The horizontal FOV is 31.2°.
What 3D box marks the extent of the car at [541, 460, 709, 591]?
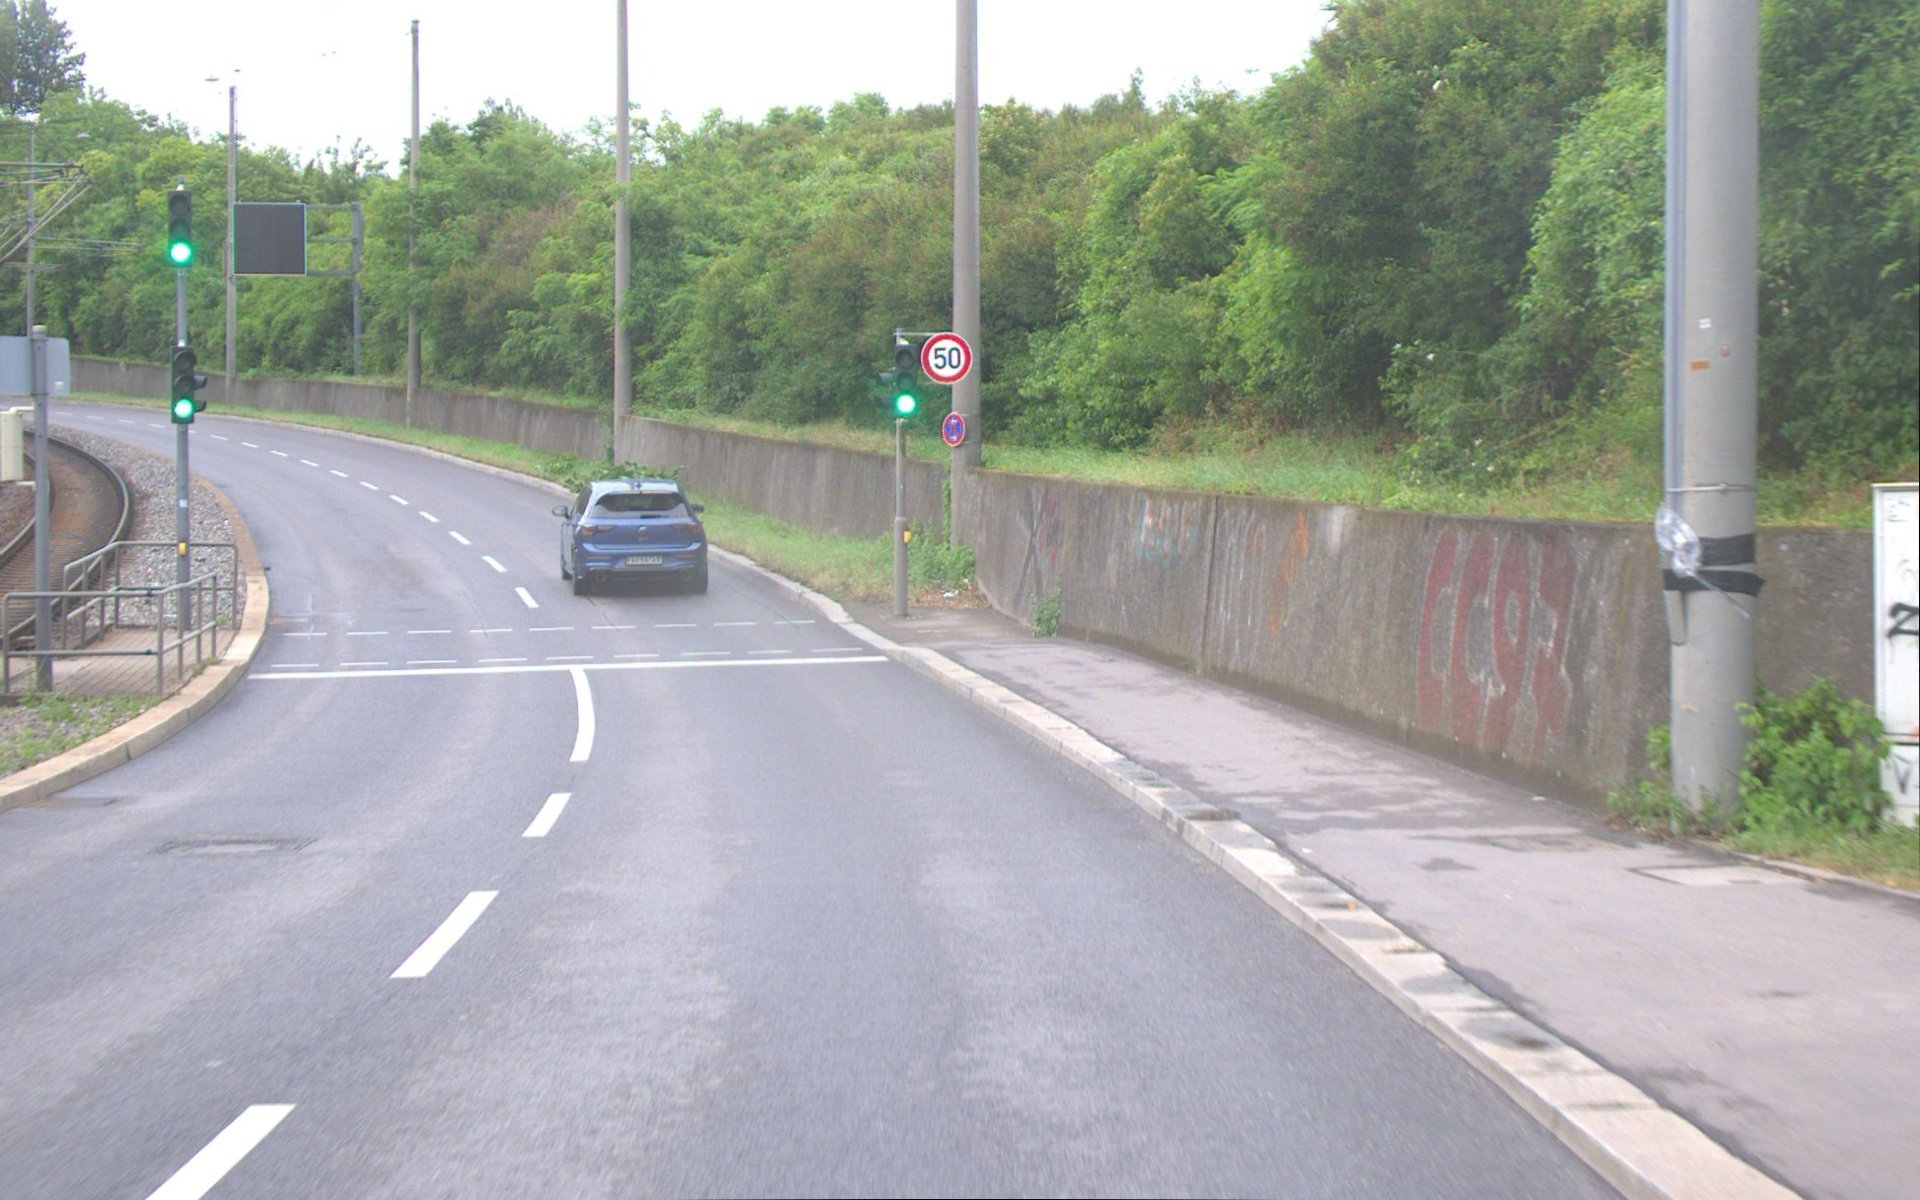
[{"bbox_3d":[-4.508,-1.034,45.808,1.763,1.495,4.002,-1,5,-12],"label":"car"}]
